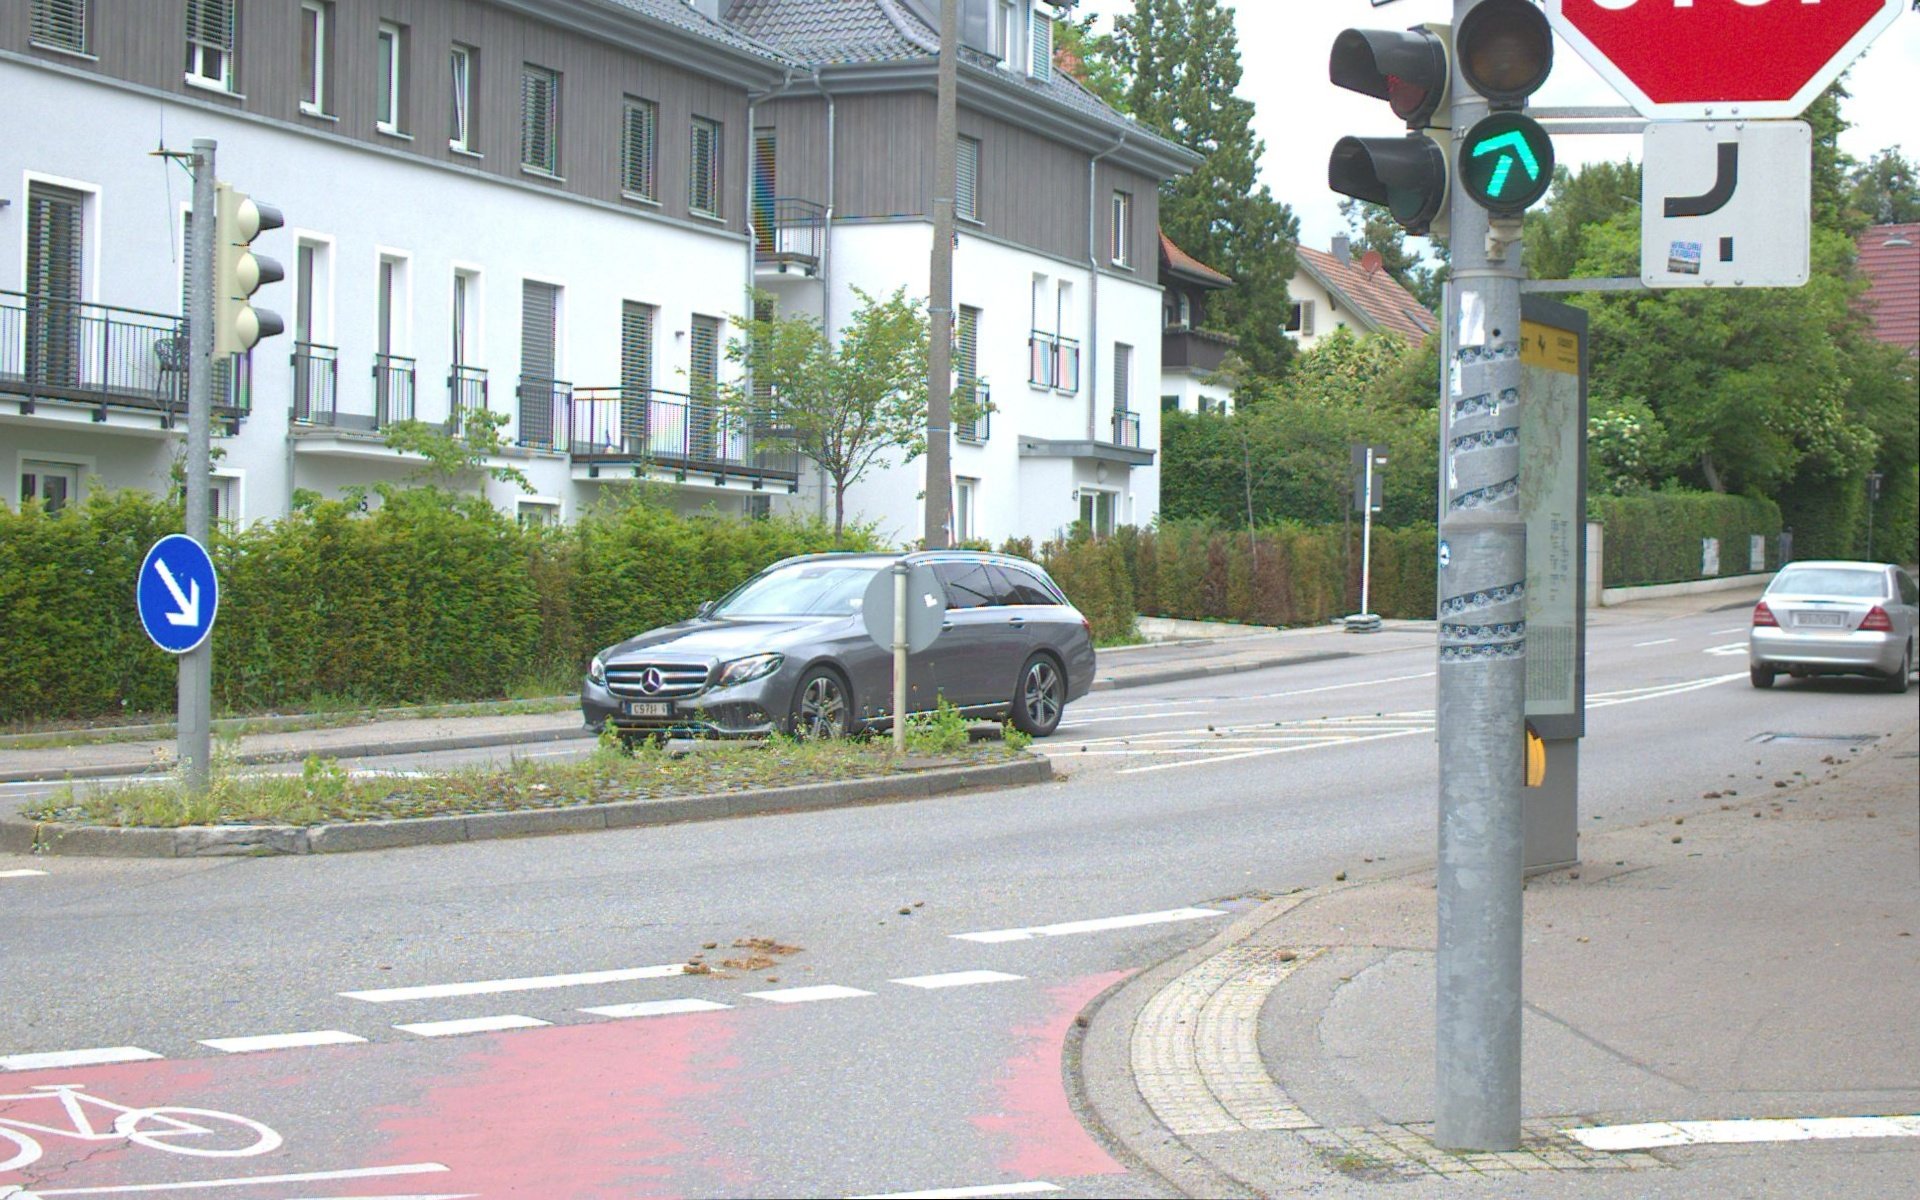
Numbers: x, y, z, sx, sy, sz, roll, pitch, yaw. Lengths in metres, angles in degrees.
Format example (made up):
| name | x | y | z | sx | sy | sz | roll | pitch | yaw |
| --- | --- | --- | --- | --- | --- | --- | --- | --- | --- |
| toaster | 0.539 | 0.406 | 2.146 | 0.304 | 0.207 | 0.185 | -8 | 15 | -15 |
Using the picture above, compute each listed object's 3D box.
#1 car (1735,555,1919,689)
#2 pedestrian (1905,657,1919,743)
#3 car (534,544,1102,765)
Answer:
| name | x | y | z | sx | sy | sz | roll | pitch | yaw |
| --- | --- | --- | --- | --- | --- | --- | --- | --- | --- |
| car | 10.032 | 0.231 | 38.761 | 1.799 | 1.410 | 4.331 | 1 | 0 | 23 |
| pedestrian | 8.206 | 0.825 | 28.201 | 0.644 | 0.694 | 0.585 | 0 | 1 | -19 |
| car | -0.953 | 0.342 | 26.020 | 1.829 | 1.480 | 4.739 | 0 | 1 | 34 |
